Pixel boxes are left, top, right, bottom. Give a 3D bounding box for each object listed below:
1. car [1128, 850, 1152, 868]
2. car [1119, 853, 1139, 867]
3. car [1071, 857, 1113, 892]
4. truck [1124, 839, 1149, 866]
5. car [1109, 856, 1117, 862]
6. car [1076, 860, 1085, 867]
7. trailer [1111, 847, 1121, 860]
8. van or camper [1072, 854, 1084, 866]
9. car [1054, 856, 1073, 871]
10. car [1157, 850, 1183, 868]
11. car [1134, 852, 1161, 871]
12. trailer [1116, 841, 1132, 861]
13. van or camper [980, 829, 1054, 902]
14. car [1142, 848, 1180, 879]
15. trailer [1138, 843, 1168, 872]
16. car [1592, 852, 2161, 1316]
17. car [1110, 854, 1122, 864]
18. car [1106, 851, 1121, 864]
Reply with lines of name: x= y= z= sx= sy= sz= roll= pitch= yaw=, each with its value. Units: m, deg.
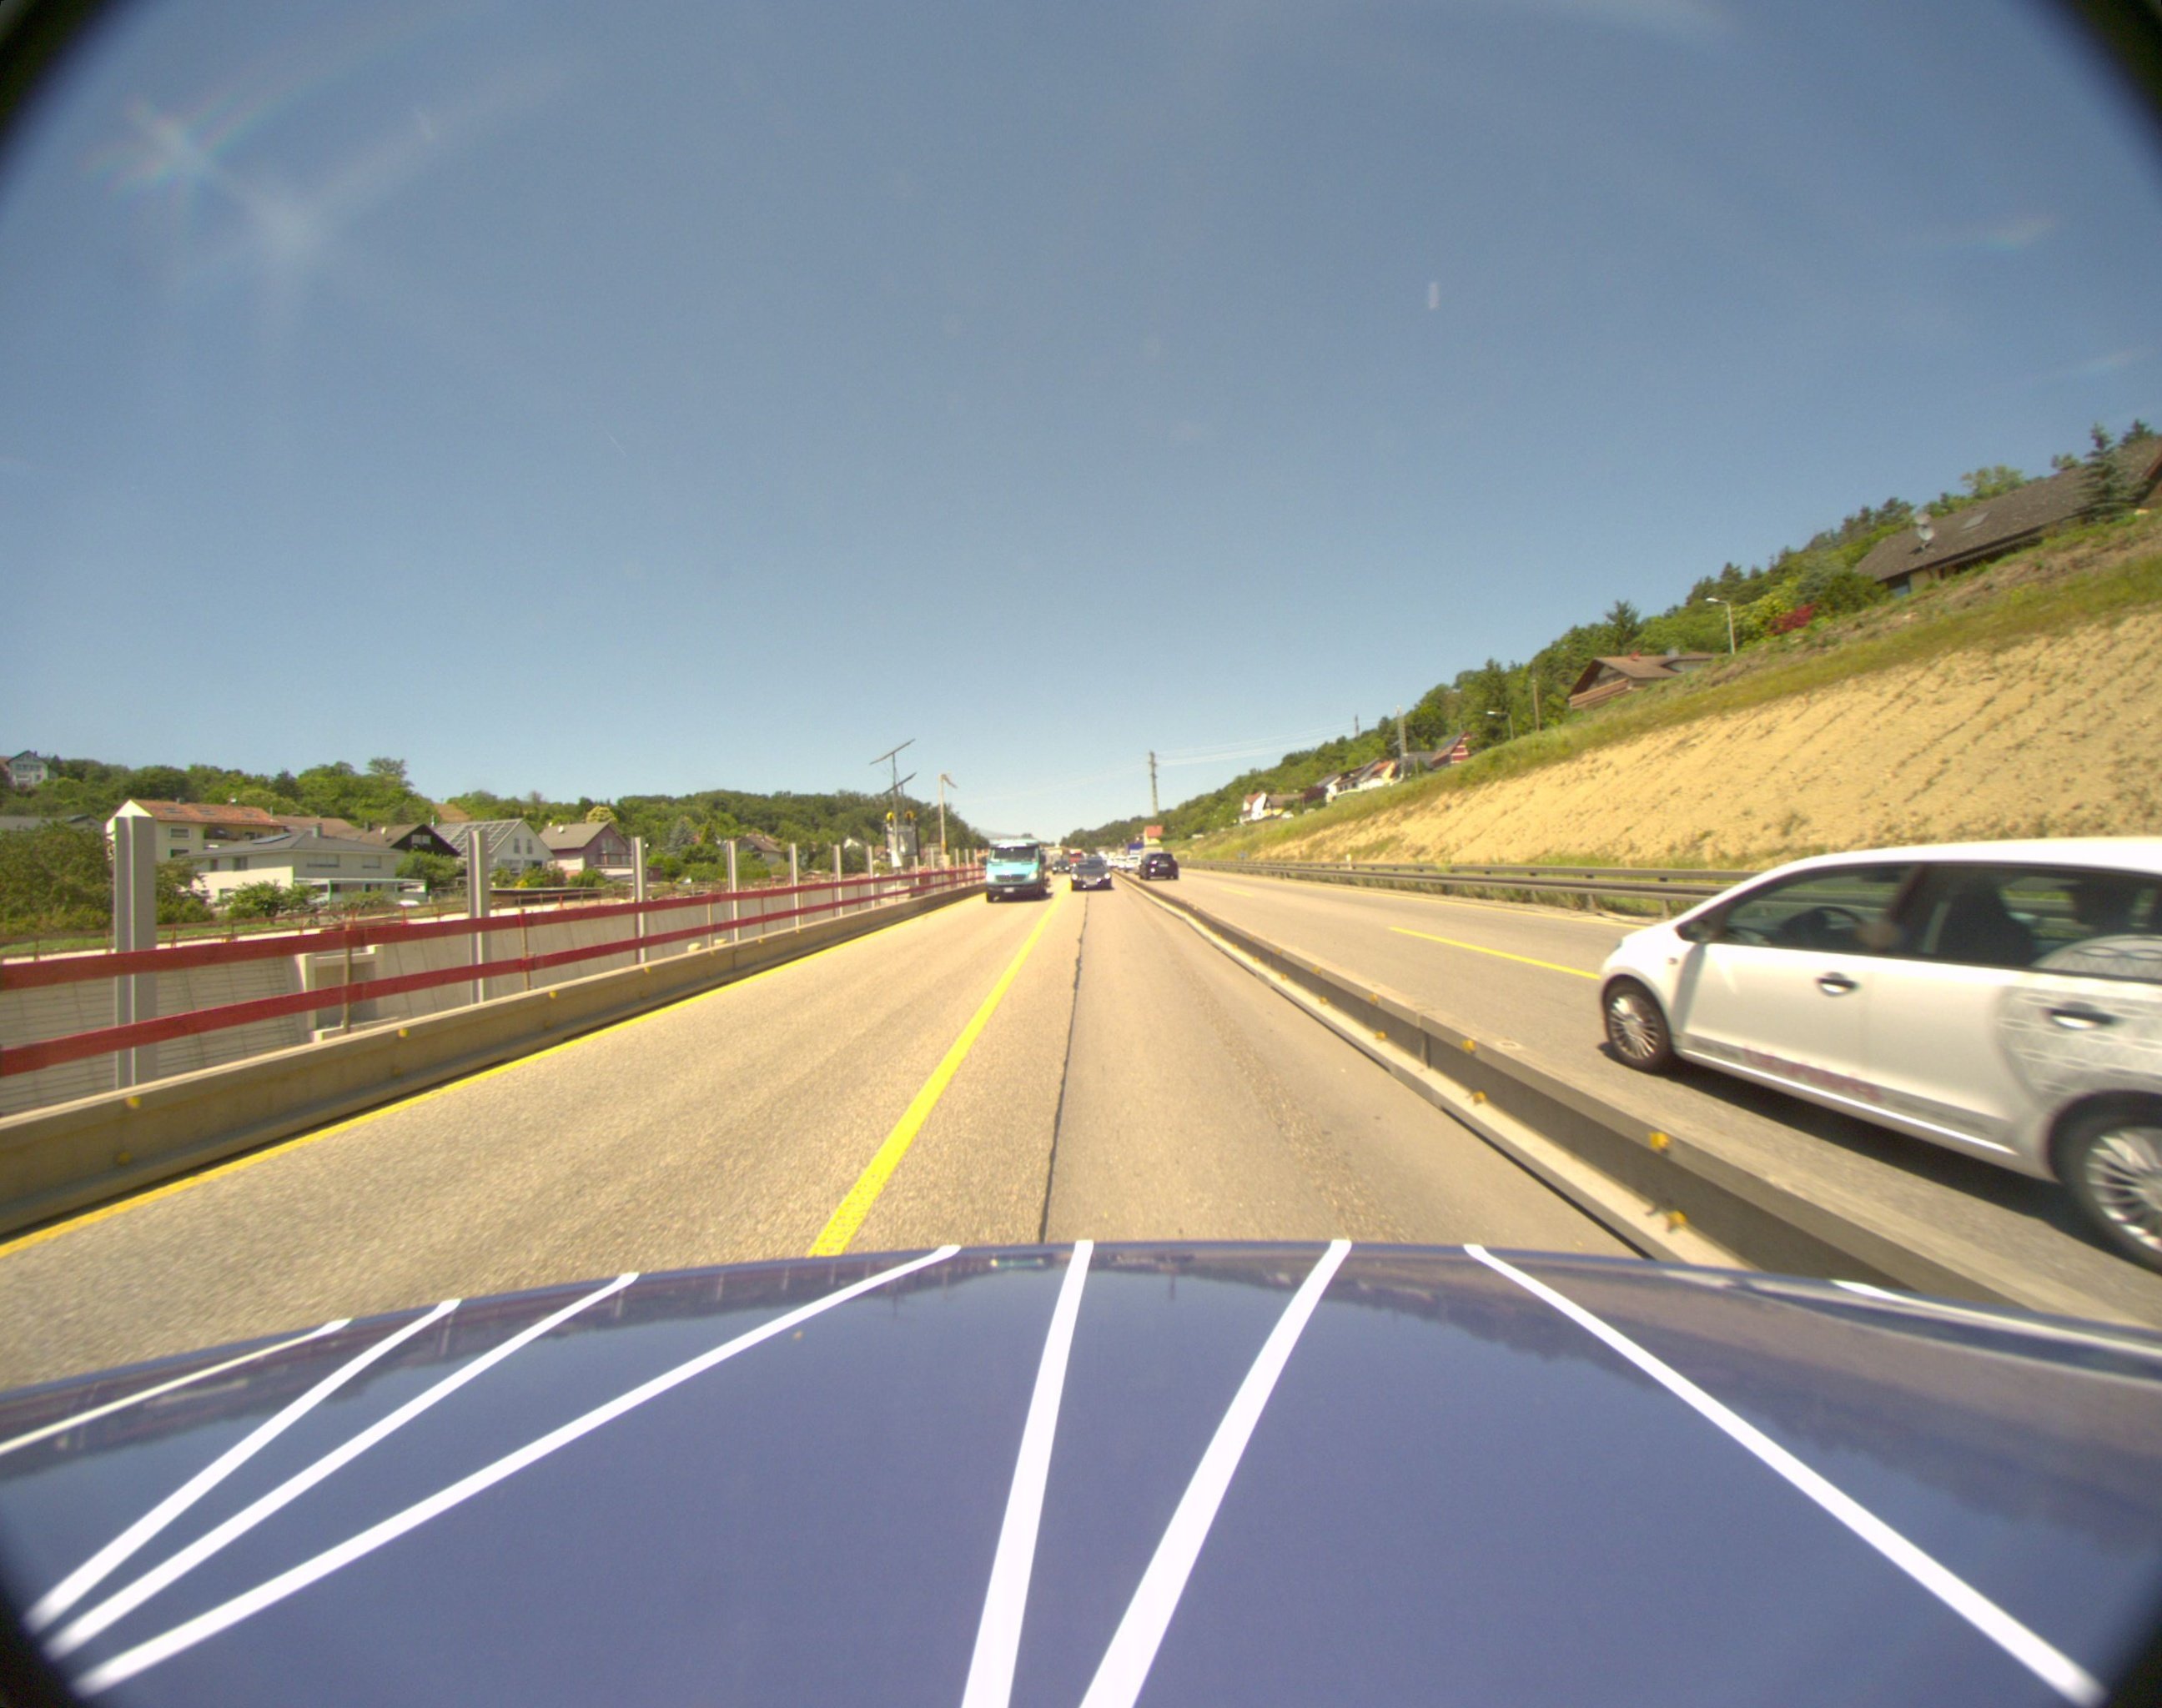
car: x=5.363 y=0.453 z=69.826 sx=1.820 sy=1.583 sz=4.290 roll=-2 pitch=0 yaw=0
car: x=5.242 y=0.660 z=83.385 sx=1.810 sy=1.468 sz=4.280 roll=-2 pitch=0 yaw=0
car: x=0.507 y=0.883 z=33.878 sx=1.746 sy=1.420 sz=4.000 roll=-1 pitch=0 yaw=1
truck: x=9.216 y=-0.266 z=127.573 sx=3.251 sy=4.135 sz=13.978 roll=-2 pitch=0 yaw=1
car: x=8.564 y=1.326 z=202.190 sx=1.853 sy=1.577 sz=4.174 roll=-3 pitch=0 yaw=0
car: x=-0.081 y=1.839 z=149.558 sx=1.679 sy=1.346 sz=3.487 roll=-4 pitch=0 yaw=1
trailer: x=11.439 y=-0.195 z=250.057 sx=2.864 sy=4.100 sz=13.438 roll=-2 pitch=0 yaw=1
van or camper: x=-0.695 y=1.269 z=169.571 sx=2.321 sy=2.513 sz=4.528 roll=-4 pitch=0 yaw=1
car: x=-1.746 y=0.904 z=75.279 sx=1.611 sy=1.324 sz=3.496 roll=-5 pitch=0 yaw=1
car: x=8.497 y=0.474 z=73.053 sx=1.904 sy=1.575 sz=4.514 roll=-2 pitch=0 yaw=0
car: x=5.152 y=0.565 z=59.306 sx=1.651 sy=1.407 sz=3.999 roll=-2 pitch=0 yaw=-2
trailer: x=9.891 y=-0.614 z=176.069 sx=2.817 sy=4.261 sz=14.035 roll=-3 pitch=0 yaw=0
van or camper: x=-2.359 y=0.439 z=30.356 sx=2.097 sy=2.458 sz=7.672 roll=-2 pitch=0 yaw=1
car: x=4.747 y=0.533 z=45.852 sx=1.895 sy=1.698 sz=4.561 roll=-2 pitch=0 yaw=1
trailer: x=5.230 y=0.270 z=55.703 sx=1.651 sy=2.014 sz=4.269 roll=-2 pitch=0 yaw=-2
car: x=4.271 y=0.732 z=3.424 sx=1.689 sy=1.421 sz=3.292 roll=-2 pitch=0 yaw=0
car: x=5.643 y=0.767 z=123.009 sx=1.817 sy=1.628 sz=4.362 roll=-2 pitch=0 yaw=0
car: x=4.480 y=0.418 z=104.817 sx=1.896 sy=1.698 sz=4.561 roll=-2 pitch=0 yaw=0
